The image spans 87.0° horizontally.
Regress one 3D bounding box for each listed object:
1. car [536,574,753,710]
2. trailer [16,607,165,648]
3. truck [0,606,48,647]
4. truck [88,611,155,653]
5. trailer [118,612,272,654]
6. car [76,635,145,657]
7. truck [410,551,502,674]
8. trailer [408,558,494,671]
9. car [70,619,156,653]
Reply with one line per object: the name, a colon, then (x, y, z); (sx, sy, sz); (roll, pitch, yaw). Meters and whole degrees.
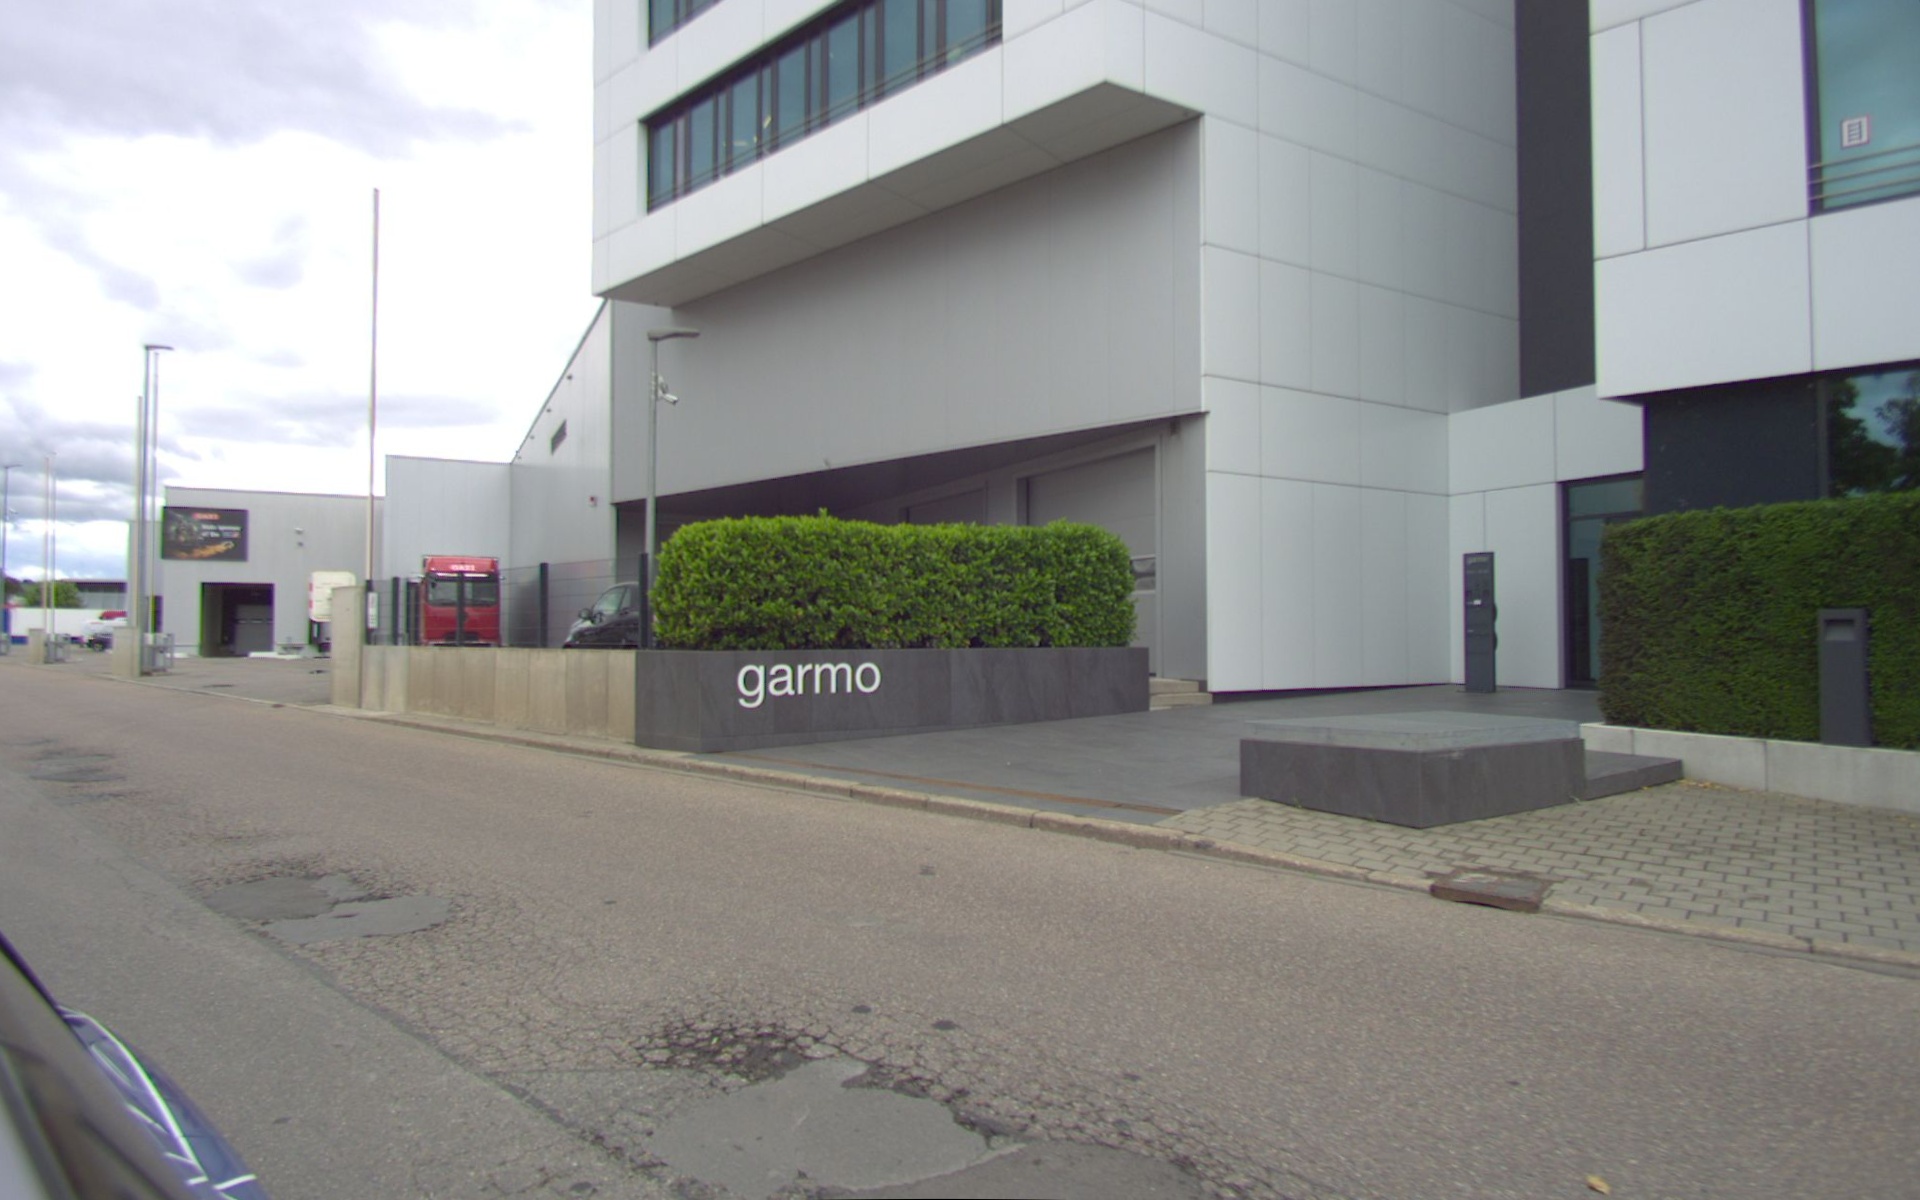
car: (-4.685, 0.575, 14.871); (3.178, 1.775, 1.633); (-2, -1, 42)
trailer: (-94.691, 3.107, 110.584); (11.842, 4.164, 3.057); (3, -4, -31)
truck: (-99.761, 2.813, 106.686); (3.047, 4.164, 4.815); (-2, -4, 41)
truck: (-89.291, 3.439, 107.849); (4.797, 4.237, 3.058); (3, -4, -27)
trailer: (-83.438, 3.695, 110.869); (12.962, 4.245, 3.058); (3, -4, -27)
car: (-69.325, 3.763, 82.646); (4.010, 1.589, 1.950); (-1, -2, -28)
truck: (-18.598, 0.539, 37.118); (2.704, 4.062, 7.114); (0, -2, -29)
trailer: (-21.541, 0.730, 42.450); (2.704, 4.062, 12.656); (0, -2, -29)
car: (-72.381, 3.082, 86.632); (5.341, 2.751, 2.248); (-1, -2, -31)
